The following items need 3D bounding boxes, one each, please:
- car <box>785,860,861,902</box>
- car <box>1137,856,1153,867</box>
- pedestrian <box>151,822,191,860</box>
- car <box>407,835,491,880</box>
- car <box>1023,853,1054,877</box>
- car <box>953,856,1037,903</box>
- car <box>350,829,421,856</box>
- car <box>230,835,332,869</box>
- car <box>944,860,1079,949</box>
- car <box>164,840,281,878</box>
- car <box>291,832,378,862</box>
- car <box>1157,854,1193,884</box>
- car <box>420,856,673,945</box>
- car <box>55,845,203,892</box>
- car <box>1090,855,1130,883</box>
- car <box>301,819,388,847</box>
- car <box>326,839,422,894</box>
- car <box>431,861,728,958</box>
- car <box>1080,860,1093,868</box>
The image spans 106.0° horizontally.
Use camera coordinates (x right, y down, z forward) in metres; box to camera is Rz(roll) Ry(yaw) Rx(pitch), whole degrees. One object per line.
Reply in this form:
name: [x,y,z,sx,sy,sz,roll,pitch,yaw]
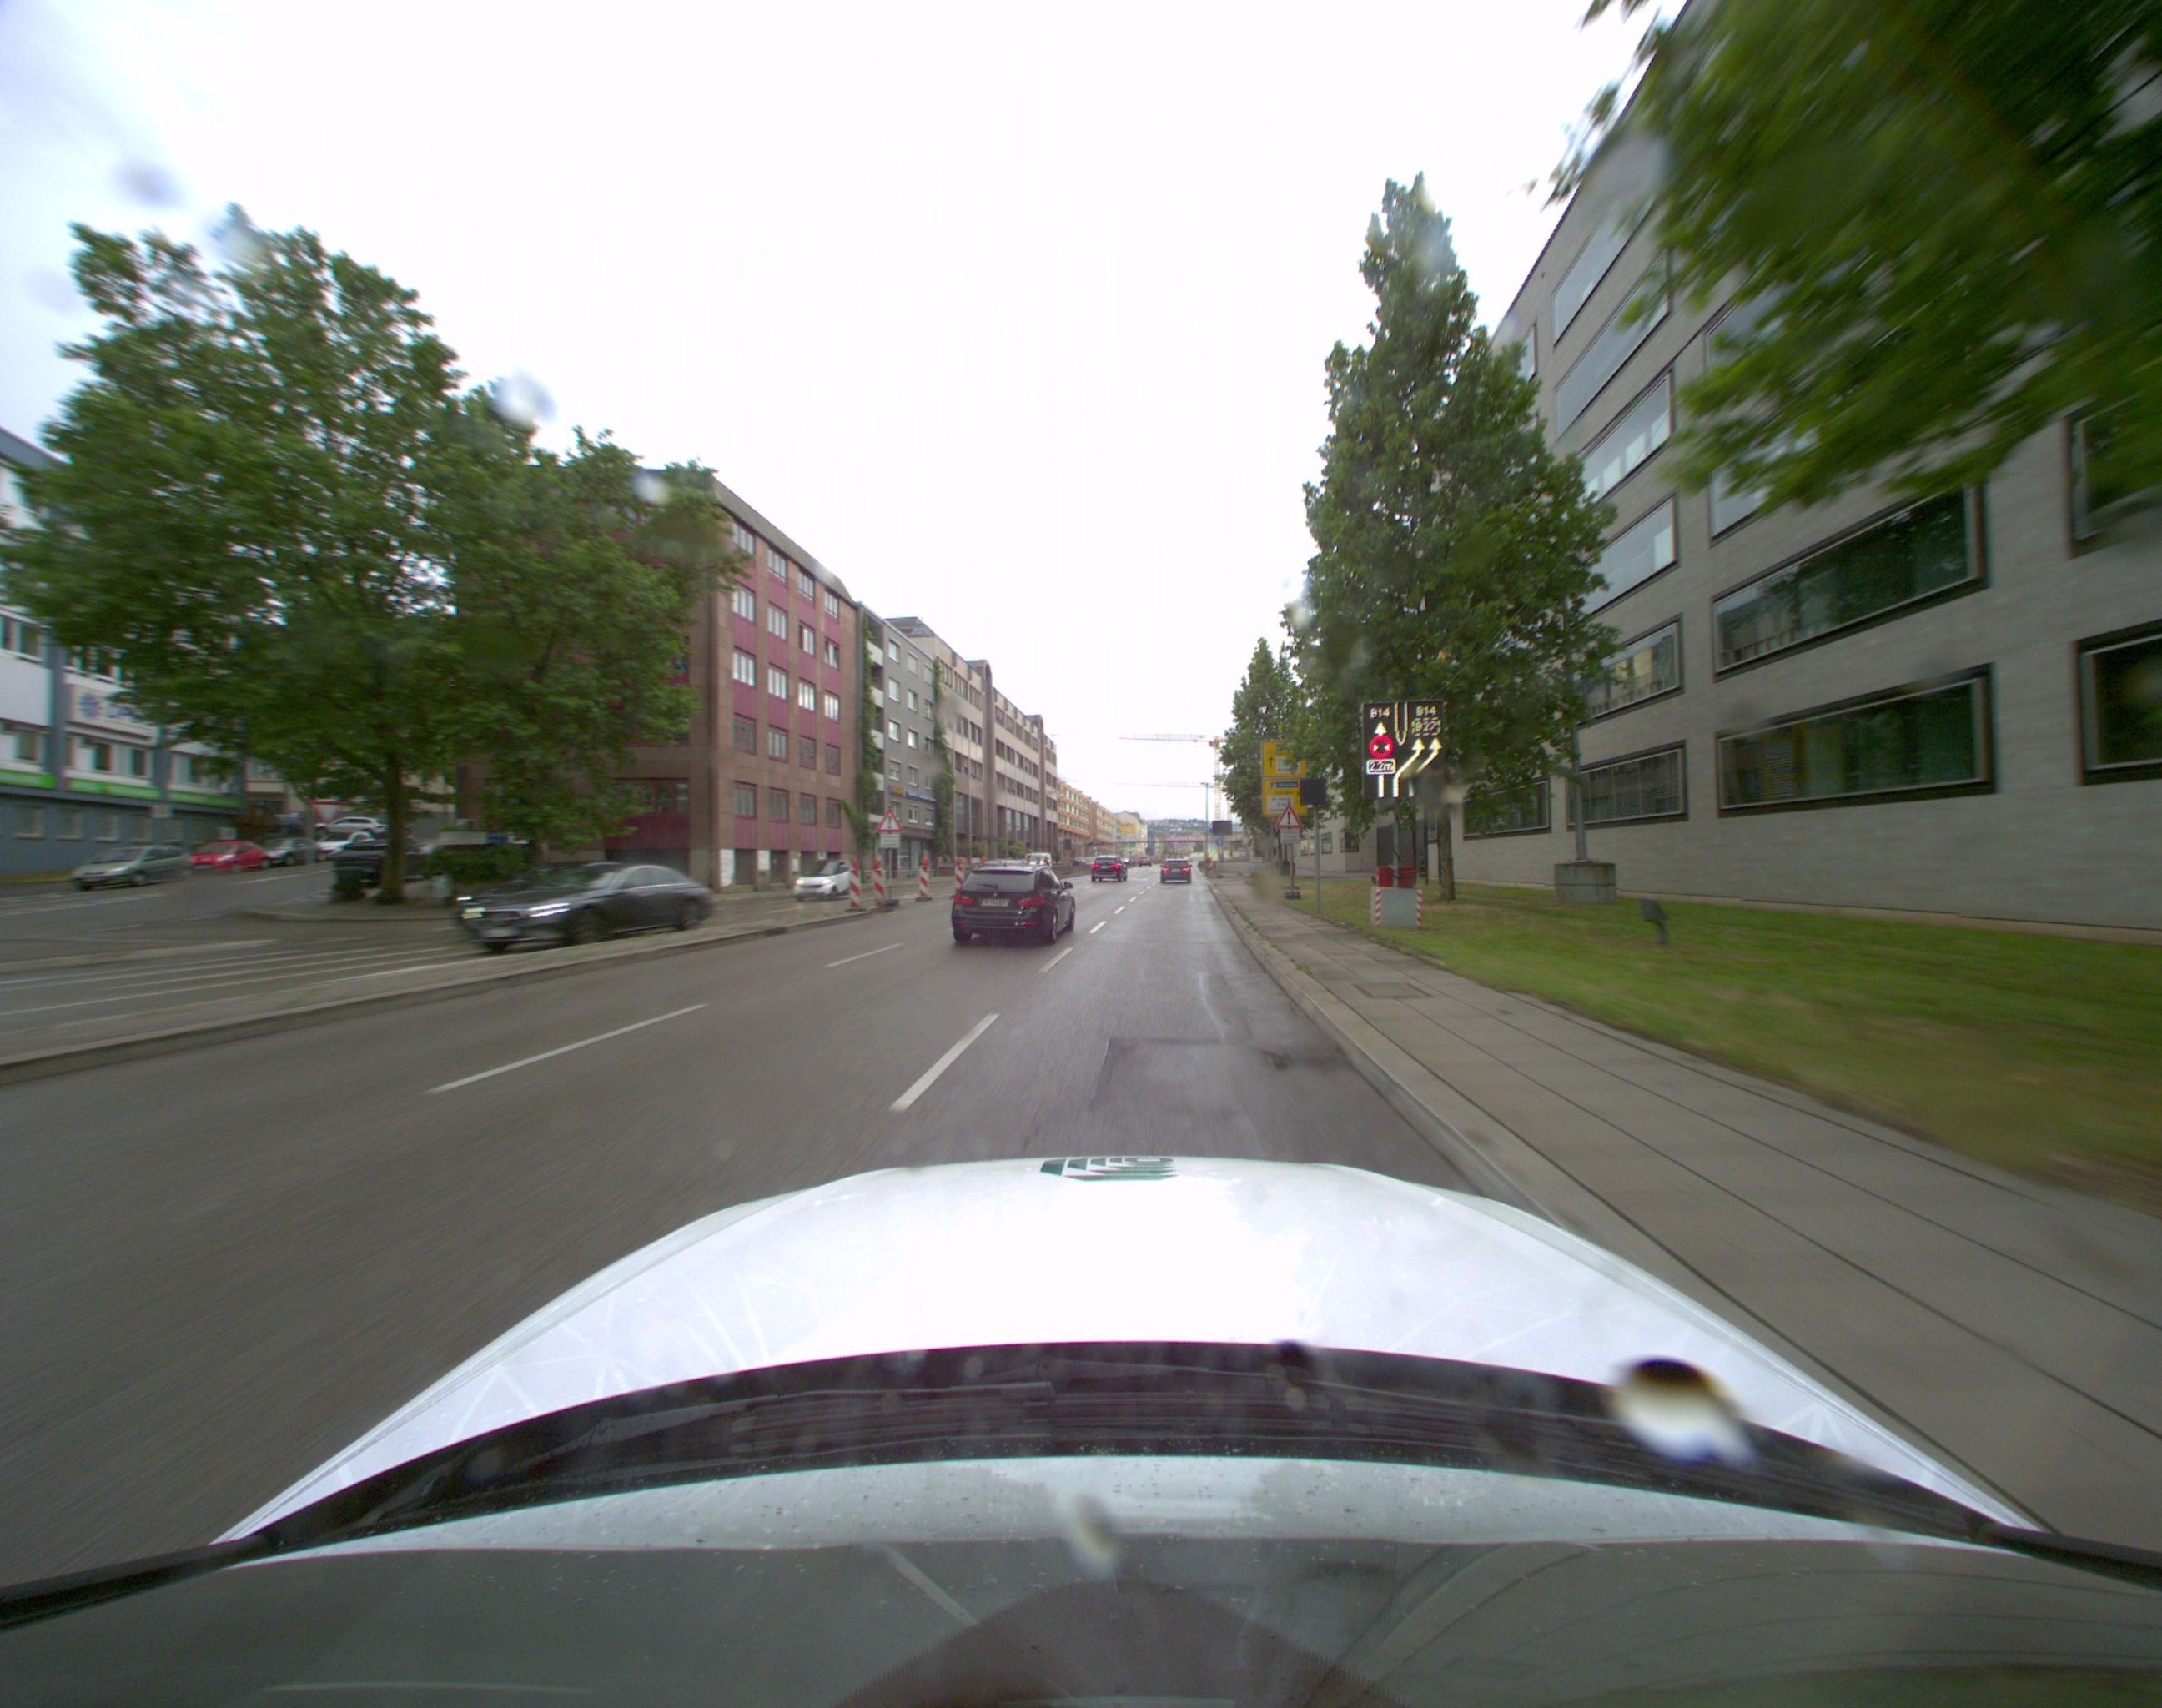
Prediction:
car: [-9.833,1.020,31.225,1.546,1.484,2.957,-2,-1,10]
car: [9.902,1.186,125.589,1.888,1.693,4.012,-2,-1,11]
pedestrian: [-42.432,-0.617,37.984,0.841,1.717,0.975,-1,-1,-19]
car: [-30.569,0.100,39.542,1.936,1.867,3.977,-1,4,-18]
car: [-3.816,0.984,73.978,1.984,1.990,5.296,-2,-1,5]
car: [-2.809,0.825,27.594,1.781,1.426,4.393,-2,-1,7]
car: [-43.588,-0.767,51.149,1.837,1.430,4.049,-2,4,-16]
car: [-40.926,-0.154,41.818,1.835,1.430,4.053,-2,4,-14]
car: [-1.169,0.854,15.852,1.782,1.426,4.620,0,0,6]
car: [-39.379,0.168,37.501,1.837,1.430,4.049,-2,4,-16]
car: [-42.379,-0.444,46.363,1.835,1.430,4.053,-2,4,-14]
car: [5.650,0.867,48.652,1.888,1.693,4.010,-2,-1,9]
car: [-11.670,0.917,18.335,1.983,1.677,4.946,-2,0,6]
car: [-37.742,0.519,32.470,1.838,1.462,4.153,-2,4,-18]
car: [1.868,0.919,51.363,1.888,1.693,4.012,-2,-1,11]
car: [-56.020,-1.592,62.034,4.437,2.006,1.984,-1,-1,-24]
car: [-29.460,0.463,34.105,1.940,1.867,3.970,1,5,-24]
car: [-9.086,0.920,15.432,1.982,1.438,4.950,-2,0,9]
car: [1.174,2.039,170.317,1.982,1.620,4.773,-2,-1,8]
